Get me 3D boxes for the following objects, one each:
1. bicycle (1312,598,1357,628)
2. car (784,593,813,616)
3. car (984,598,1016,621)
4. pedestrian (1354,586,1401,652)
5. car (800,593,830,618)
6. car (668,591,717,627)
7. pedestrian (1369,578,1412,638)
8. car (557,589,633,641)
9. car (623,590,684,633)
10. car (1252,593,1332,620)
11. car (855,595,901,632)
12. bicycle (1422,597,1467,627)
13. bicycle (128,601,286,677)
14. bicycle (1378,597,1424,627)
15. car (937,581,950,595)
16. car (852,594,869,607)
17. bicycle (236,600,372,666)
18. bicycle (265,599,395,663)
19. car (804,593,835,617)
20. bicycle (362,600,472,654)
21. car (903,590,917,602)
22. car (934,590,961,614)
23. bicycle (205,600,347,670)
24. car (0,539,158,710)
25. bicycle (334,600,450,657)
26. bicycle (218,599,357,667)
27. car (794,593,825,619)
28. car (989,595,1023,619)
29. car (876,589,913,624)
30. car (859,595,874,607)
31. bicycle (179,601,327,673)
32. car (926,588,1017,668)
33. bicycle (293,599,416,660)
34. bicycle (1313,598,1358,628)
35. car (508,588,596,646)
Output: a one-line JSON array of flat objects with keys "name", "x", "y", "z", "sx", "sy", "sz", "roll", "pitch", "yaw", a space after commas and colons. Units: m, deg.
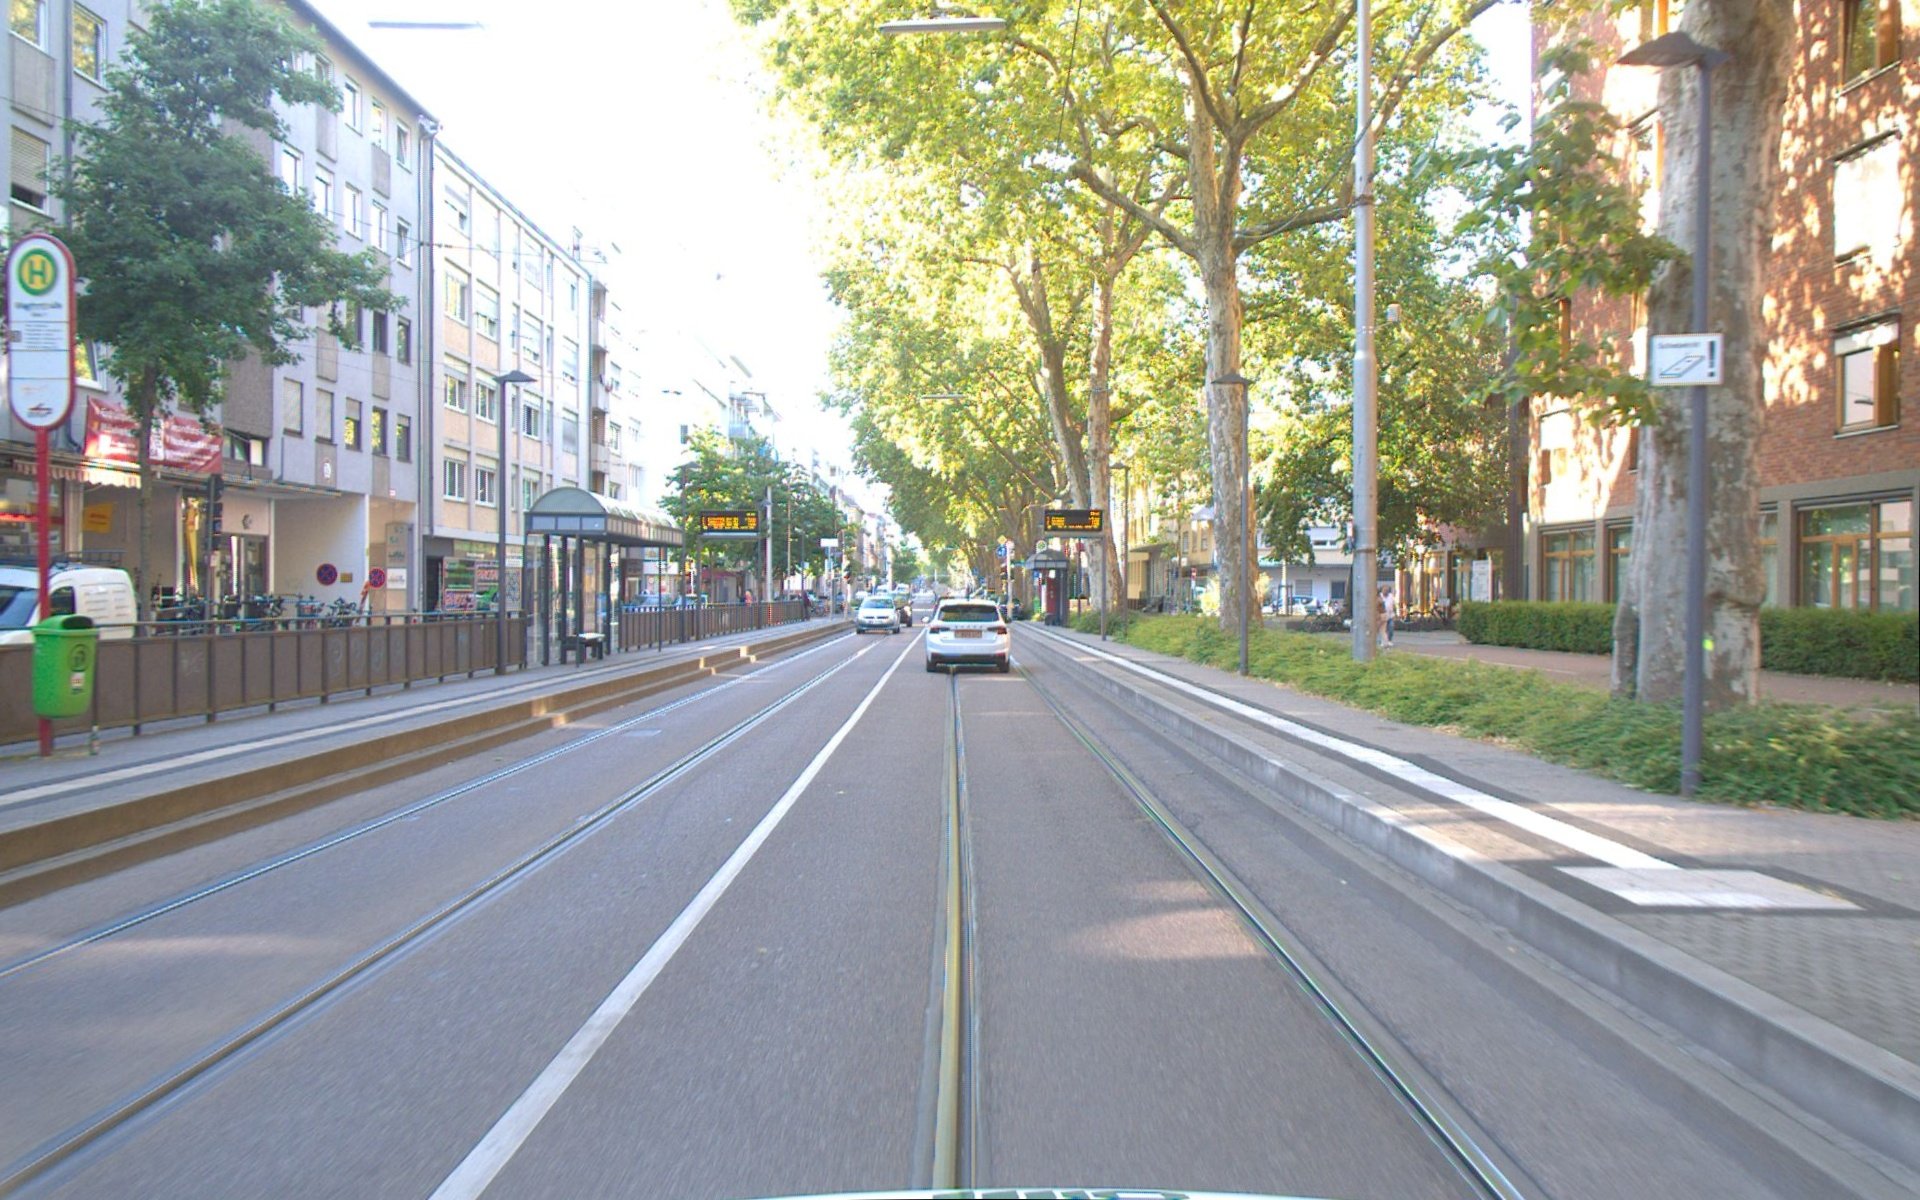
[{"name": "bicycle", "x": 13.580, "y": 0.470, "z": 60.024, "sx": 1.534, "sy": 1.055, "sz": 0.504, "roll": 0, "pitch": 0, "yaw": 21}, {"name": "car", "x": -11.656, "y": 0.319, "z": 119.446, "sx": 1.644, "sy": 1.575, "sz": 4.000, "roll": 2, "pitch": 0, "yaw": -1}, {"name": "car", "x": 2.578, "y": 0.605, "z": 107.060, "sx": 1.953, "sy": 1.478, "sz": 4.000, "roll": 0, "pitch": 0, "yaw": -1}, {"name": "pedestrian", "x": 10.543, "y": 0.475, "z": 41.779, "sx": 0.952, "sy": 1.652, "sz": 0.887, "roll": 0, "pitch": 0, "yaw": -1}, {"name": "car", "x": -9.779, "y": 0.344, "z": 111.713, "sx": 1.644, "sy": 1.575, "sz": 4.000, "roll": 2, "pitch": 0, "yaw": -1}, {"name": "car", "x": -12.514, "y": 0.411, "z": 77.638, "sx": 1.644, "sy": 1.575, "sz": 4.000, "roll": 2, "pitch": 0, "yaw": -1}, {"name": "pedestrian", "x": 12.039, "y": 0.215, "z": 46.252, "sx": 0.952, "sy": 1.652, "sz": 0.887, "roll": 0, "pitch": 0, "yaw": -1}, {"name": "car", "x": -11.881, "y": 0.465, "z": 54.015, "sx": 1.561, "sy": 1.575, "sz": 4.000, "roll": 2, "pitch": 0, "yaw": -1}, {"name": "car", "x": -12.101, "y": 0.439, "z": 65.486, "sx": 1.644, "sy": 1.575, "sz": 4.000, "roll": 2, "pitch": 0, "yaw": -1}, {"name": "car", "x": 17.718, "y": 0.351, "z": 88.372, "sx": 3.904, "sy": 1.396, "sz": 1.867, "roll": 0, "pitch": 0, "yaw": 1}, {"name": "car", "x": -3.281, "y": 0.516, "z": 66.650, "sx": 1.659, "sy": 1.444, "sz": 4.000, "roll": 0, "pitch": 0, "yaw": -1}, {"name": "bicycle", "x": 17.358, "y": 0.438, "z": 59.249, "sx": 1.534, "sy": 1.055, "sz": 0.479, "roll": 0, "pitch": 0, "yaw": 22}, {"name": "bicycle", "x": -12.111, "y": 0.620, "z": 26.627, "sx": 2.207, "sy": 1.092, "sz": 0.636, "roll": 3, "pitch": 0, "yaw": 1}, {"name": "bicycle", "x": 15.784, "y": 0.433, "z": 59.213, "sx": 1.534, "sy": 1.055, "sz": 0.479, "roll": 0, "pitch": 0, "yaw": 21}, {"name": "car", "x": -2.329, "y": -1.745, "z": 237.307, "sx": 1.828, "sy": 1.925, "sz": 4.000, "roll": 0, "pitch": 0, "yaw": -1}, {"name": "car", "x": -11.743, "y": 0.075, "z": 195.613, "sx": 1.752, "sy": 1.540, "sz": 4.000, "roll": 0, "pitch": 0, "yaw": -1}, {"name": "bicycle", "x": -12.169, "y": 0.603, "z": 30.707, "sx": 2.207, "sy": 1.092, "sz": 0.636, "roll": 3, "pitch": 0, "yaw": 1}, {"name": "bicycle", "x": -12.169, "y": 0.600, "z": 31.971, "sx": 2.207, "sy": 1.092, "sz": 0.636, "roll": 3, "pitch": 0, "yaw": 1}, {"name": "car", "x": -9.831, "y": 0.337, "z": 115.886, "sx": 1.758, "sy": 1.536, "sz": 4.000, "roll": 2, "pitch": 0, "yaw": -1}, {"name": "bicycle", "x": -12.221, "y": 0.602, "z": 37.240, "sx": 2.207, "sy": 1.092, "sz": 0.636, "roll": 3, "pitch": 0, "yaw": 1}, {"name": "car", "x": -6.469, "y": -0.545, "z": 214.053, "sx": 1.752, "sy": 1.540, "sz": 4.000, "roll": 0, "pitch": 0, "yaw": -1}, {"name": "car", "x": -0.828, "y": 0.134, "z": 109.398, "sx": 1.752, "sy": 1.540, "sz": 4.000, "roll": 0, "pitch": 0, "yaw": -1}, {"name": "bicycle", "x": -12.183, "y": 0.614, "z": 29.478, "sx": 2.207, "sy": 1.092, "sz": 0.636, "roll": 3, "pitch": 0, "yaw": 1}, {"name": "car", "x": -11.898, "y": 0.277, "z": 20.835, "sx": 1.653, "sy": 1.974, "sz": 4.000, "roll": 0, "pitch": 0, "yaw": -1}, {"name": "bicycle", "x": -12.200, "y": 0.606, "z": 35.548, "sx": 2.207, "sy": 1.092, "sz": 0.636, "roll": 3, "pitch": 0, "yaw": 1}, {"name": "bicycle", "x": -12.197, "y": 0.586, "z": 30.043, "sx": 2.207, "sy": 1.092, "sz": 0.636, "roll": 3, "pitch": 0, "yaw": 1}, {"name": "car", "x": -9.768, "y": 0.353, "z": 107.596, "sx": 1.644, "sy": 1.575, "sz": 4.000, "roll": 2, "pitch": 0, "yaw": -1}, {"name": "car", "x": 2.796, "y": 0.416, "z": 101.976, "sx": 1.953, "sy": 1.478, "sz": 4.000, "roll": 0, "pitch": 0, "yaw": -1}, {"name": "car", "x": -3.182, "y": 0.307, "z": 80.457, "sx": 1.659, "sy": 1.673, "sz": 4.000, "roll": 0, "pitch": 0, "yaw": -1}, {"name": "car", "x": -11.943, "y": 0.075, "z": 211.890, "sx": 1.752, "sy": 1.540, "sz": 4.000, "roll": 0, "pitch": 0, "yaw": -1}, {"name": "bicycle", "x": -12.078, "y": 0.629, "z": 28.275, "sx": 2.207, "sy": 1.092, "sz": 0.636, "roll": 3, "pitch": 0, "yaw": 1}, {"name": "car", "x": 0.205, "y": 0.523, "z": 34.049, "sx": 1.752, "sy": 1.540, "sz": 4.000, "roll": 0, "pitch": 0, "yaw": -1}, {"name": "bicycle", "x": -12.331, "y": 0.595, "z": 33.716, "sx": 2.207, "sy": 1.092, "sz": 0.636, "roll": 3, "pitch": 0, "yaw": 1}, {"name": "bicycle", "x": 13.423, "y": 0.472, "z": 59.107, "sx": 1.534, "sy": 1.055, "sz": 0.479, "roll": 0, "pitch": 0, "yaw": 21}, {"name": "car", "x": -12.017, "y": 0.474, "z": 48.939, "sx": 1.561, "sy": 1.575, "sz": 4.000, "roll": 2, "pitch": 0, "yaw": -1}]
